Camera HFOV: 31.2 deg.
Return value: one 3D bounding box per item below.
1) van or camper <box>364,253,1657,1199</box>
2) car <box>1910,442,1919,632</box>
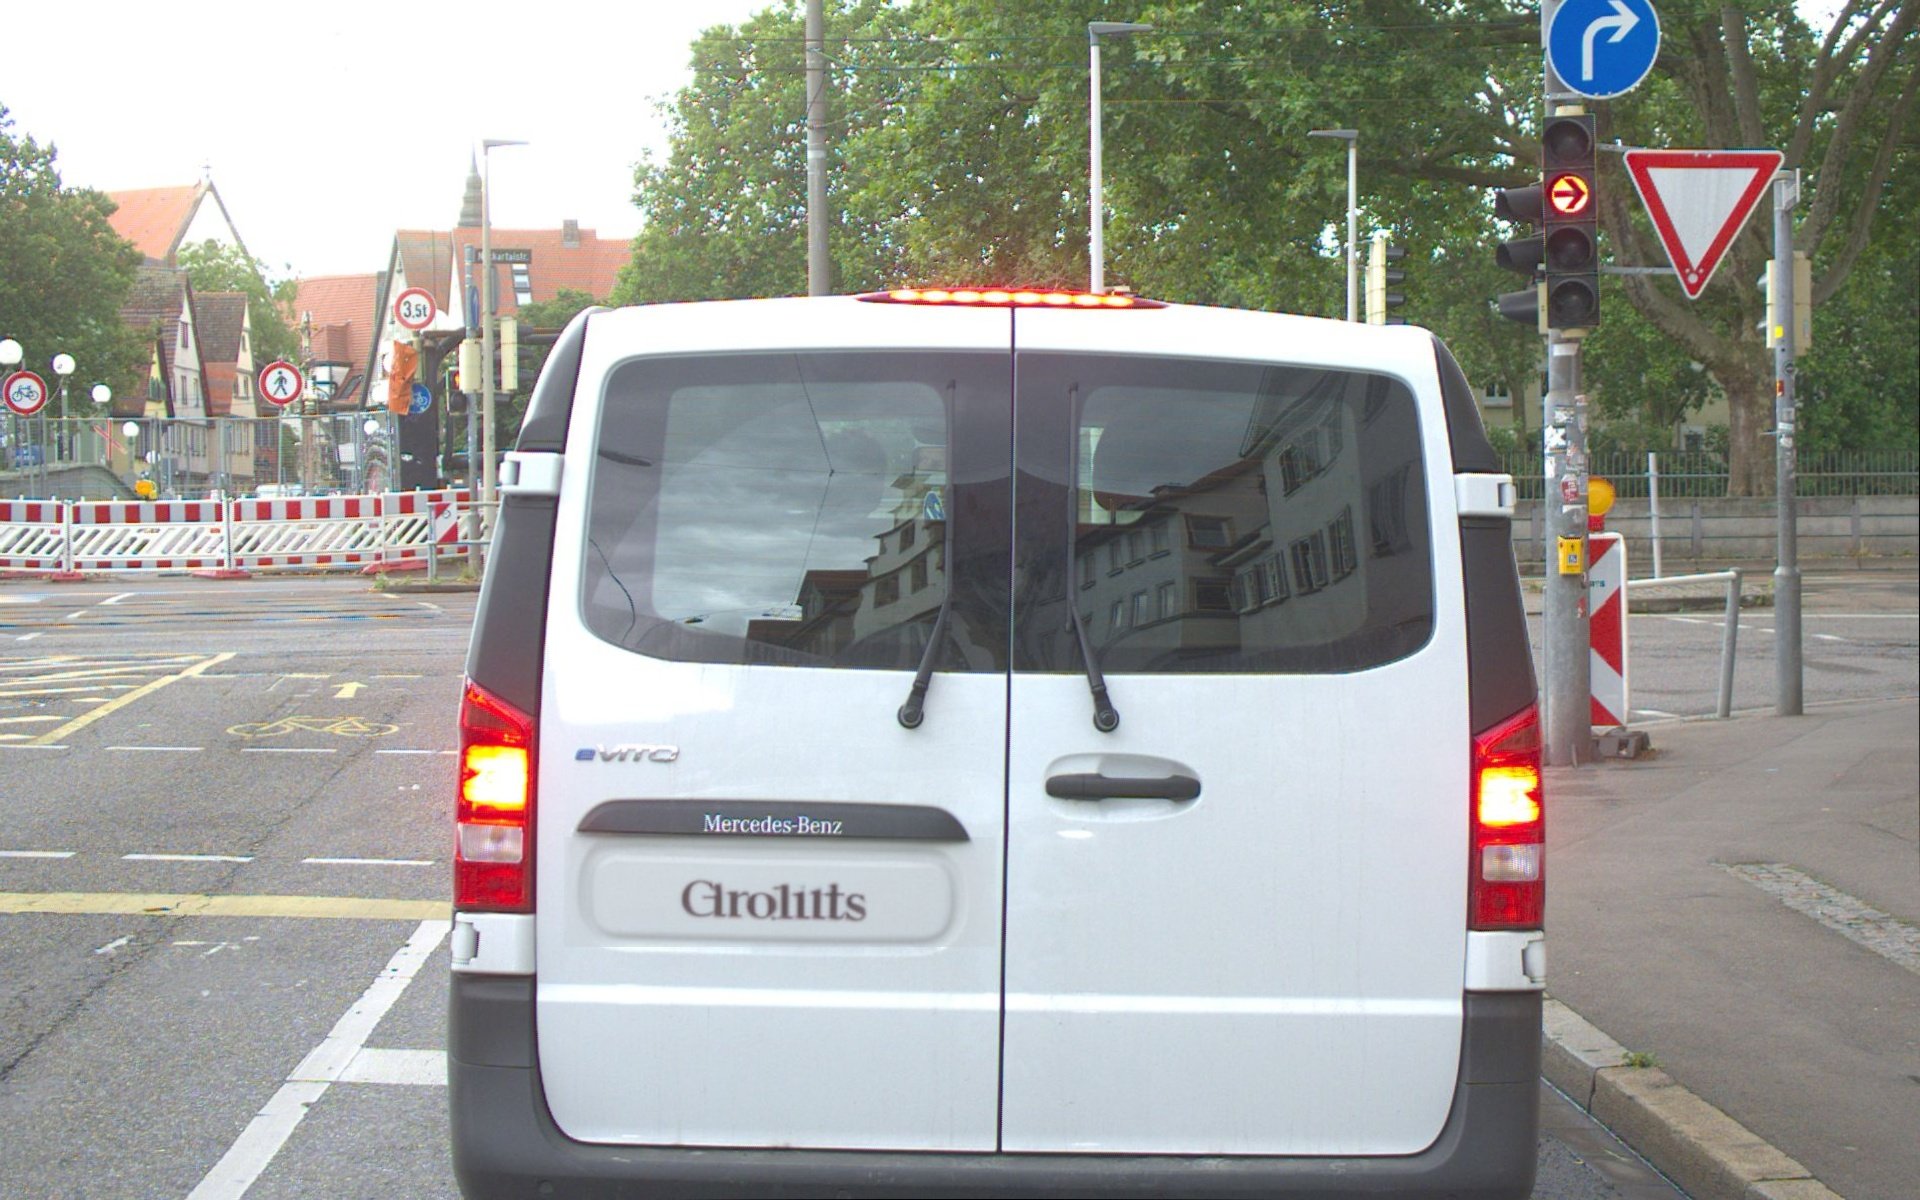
[{"bbox_3d":[-0.063,0.343,7.424,1.937,1.918,4.442,1,3,-4],"label":"van or camper"},{"bbox_3d":[9.892,-0.518,27.713,4.071,1.568,1.828,-1,3,7],"label":"car"}]
